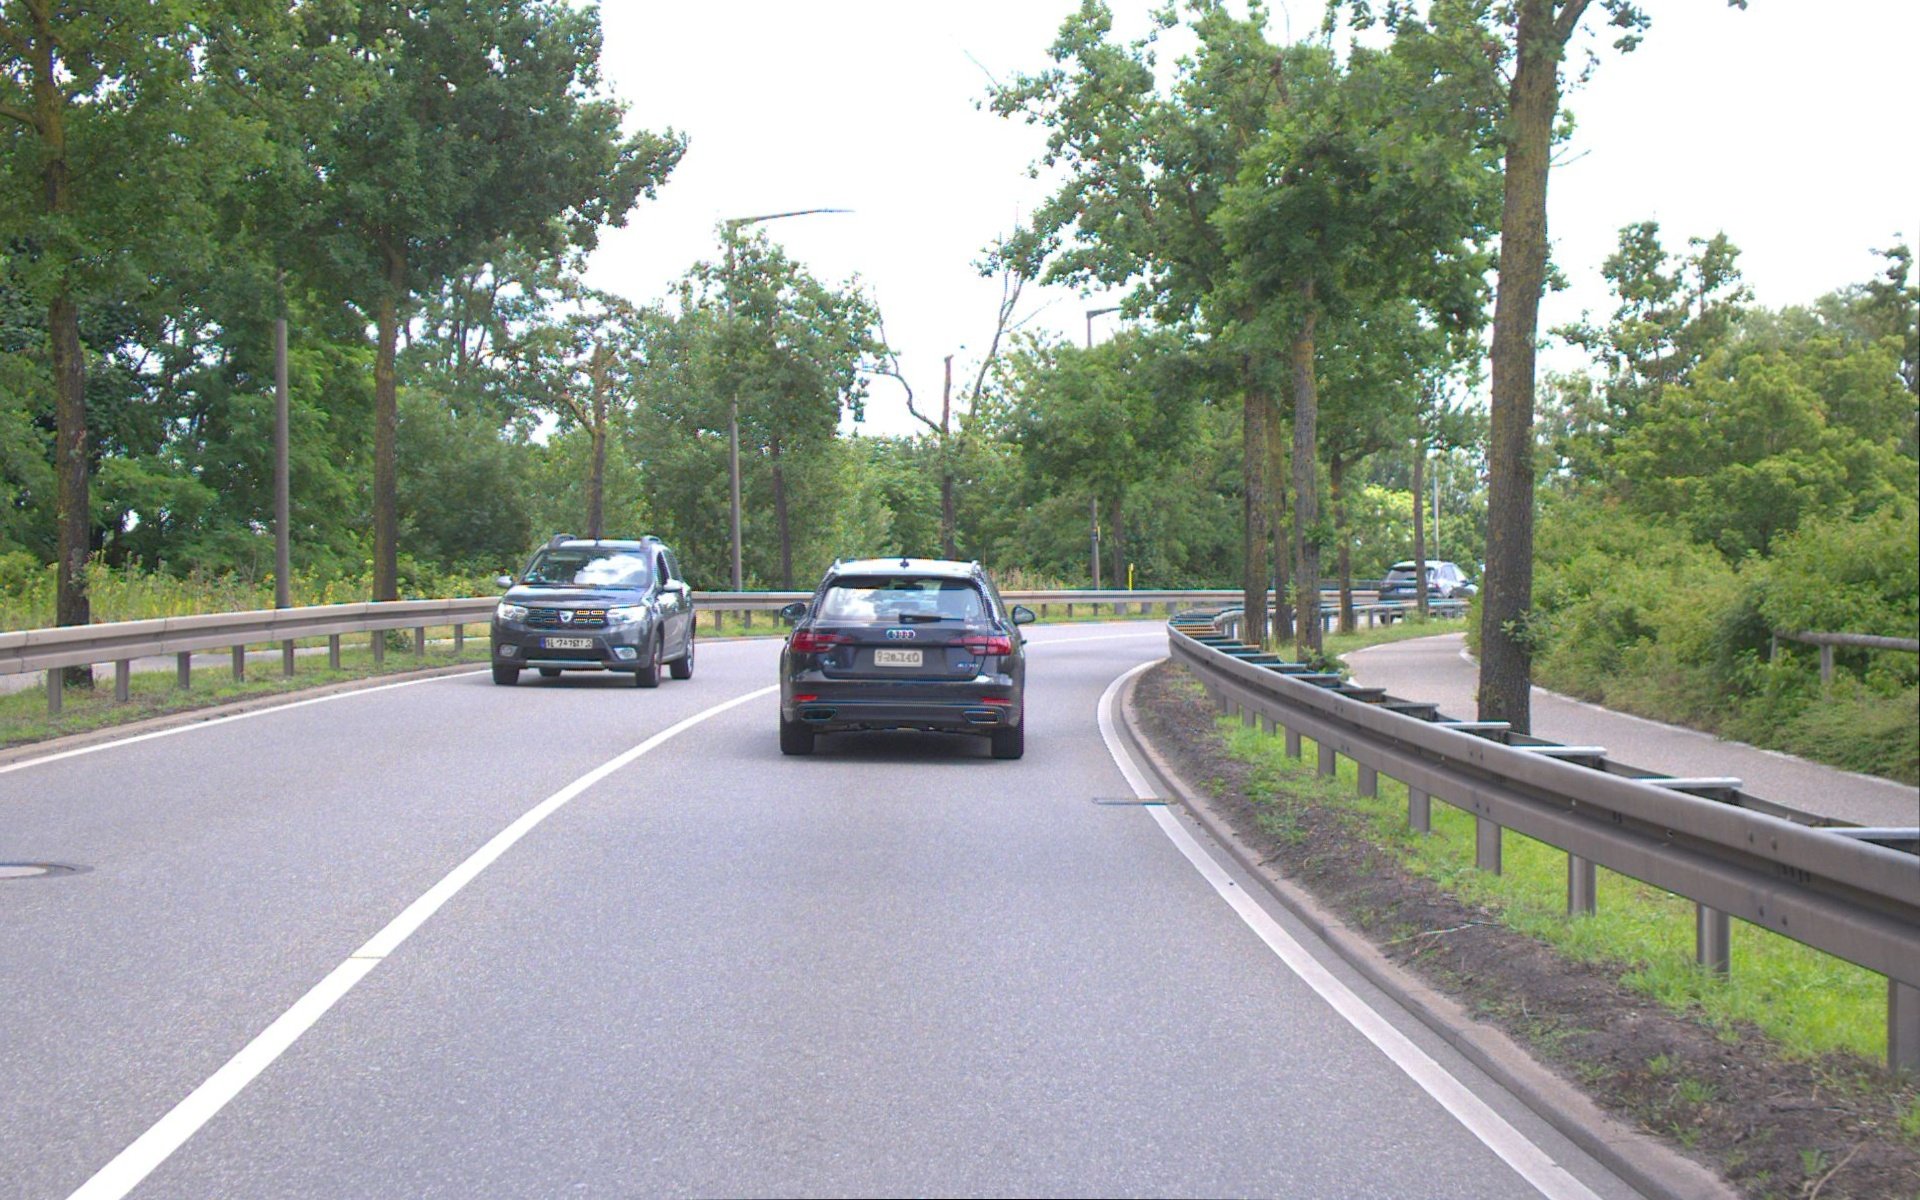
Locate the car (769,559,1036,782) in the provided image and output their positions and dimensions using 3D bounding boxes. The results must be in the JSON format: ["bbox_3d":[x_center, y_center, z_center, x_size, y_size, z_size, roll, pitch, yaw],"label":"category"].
[{"bbox_3d":[-0.376,0.466,26.122,1.828,1.486,4.207,1,1,1],"label":"car"}]

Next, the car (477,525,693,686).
[{"bbox_3d":[-3.975,0.024,37.038,1.780,1.601,4.158,1,1,1],"label":"car"}]

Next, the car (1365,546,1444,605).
[{"bbox_3d":[11.695,-0.655,90.288,1.579,1.515,3.998,0,1,14],"label":"car"}]

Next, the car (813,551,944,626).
[{"bbox_3d":[-1.416,-0.216,61.071,1.593,1.214,3.789,3,1,10],"label":"car"}]
